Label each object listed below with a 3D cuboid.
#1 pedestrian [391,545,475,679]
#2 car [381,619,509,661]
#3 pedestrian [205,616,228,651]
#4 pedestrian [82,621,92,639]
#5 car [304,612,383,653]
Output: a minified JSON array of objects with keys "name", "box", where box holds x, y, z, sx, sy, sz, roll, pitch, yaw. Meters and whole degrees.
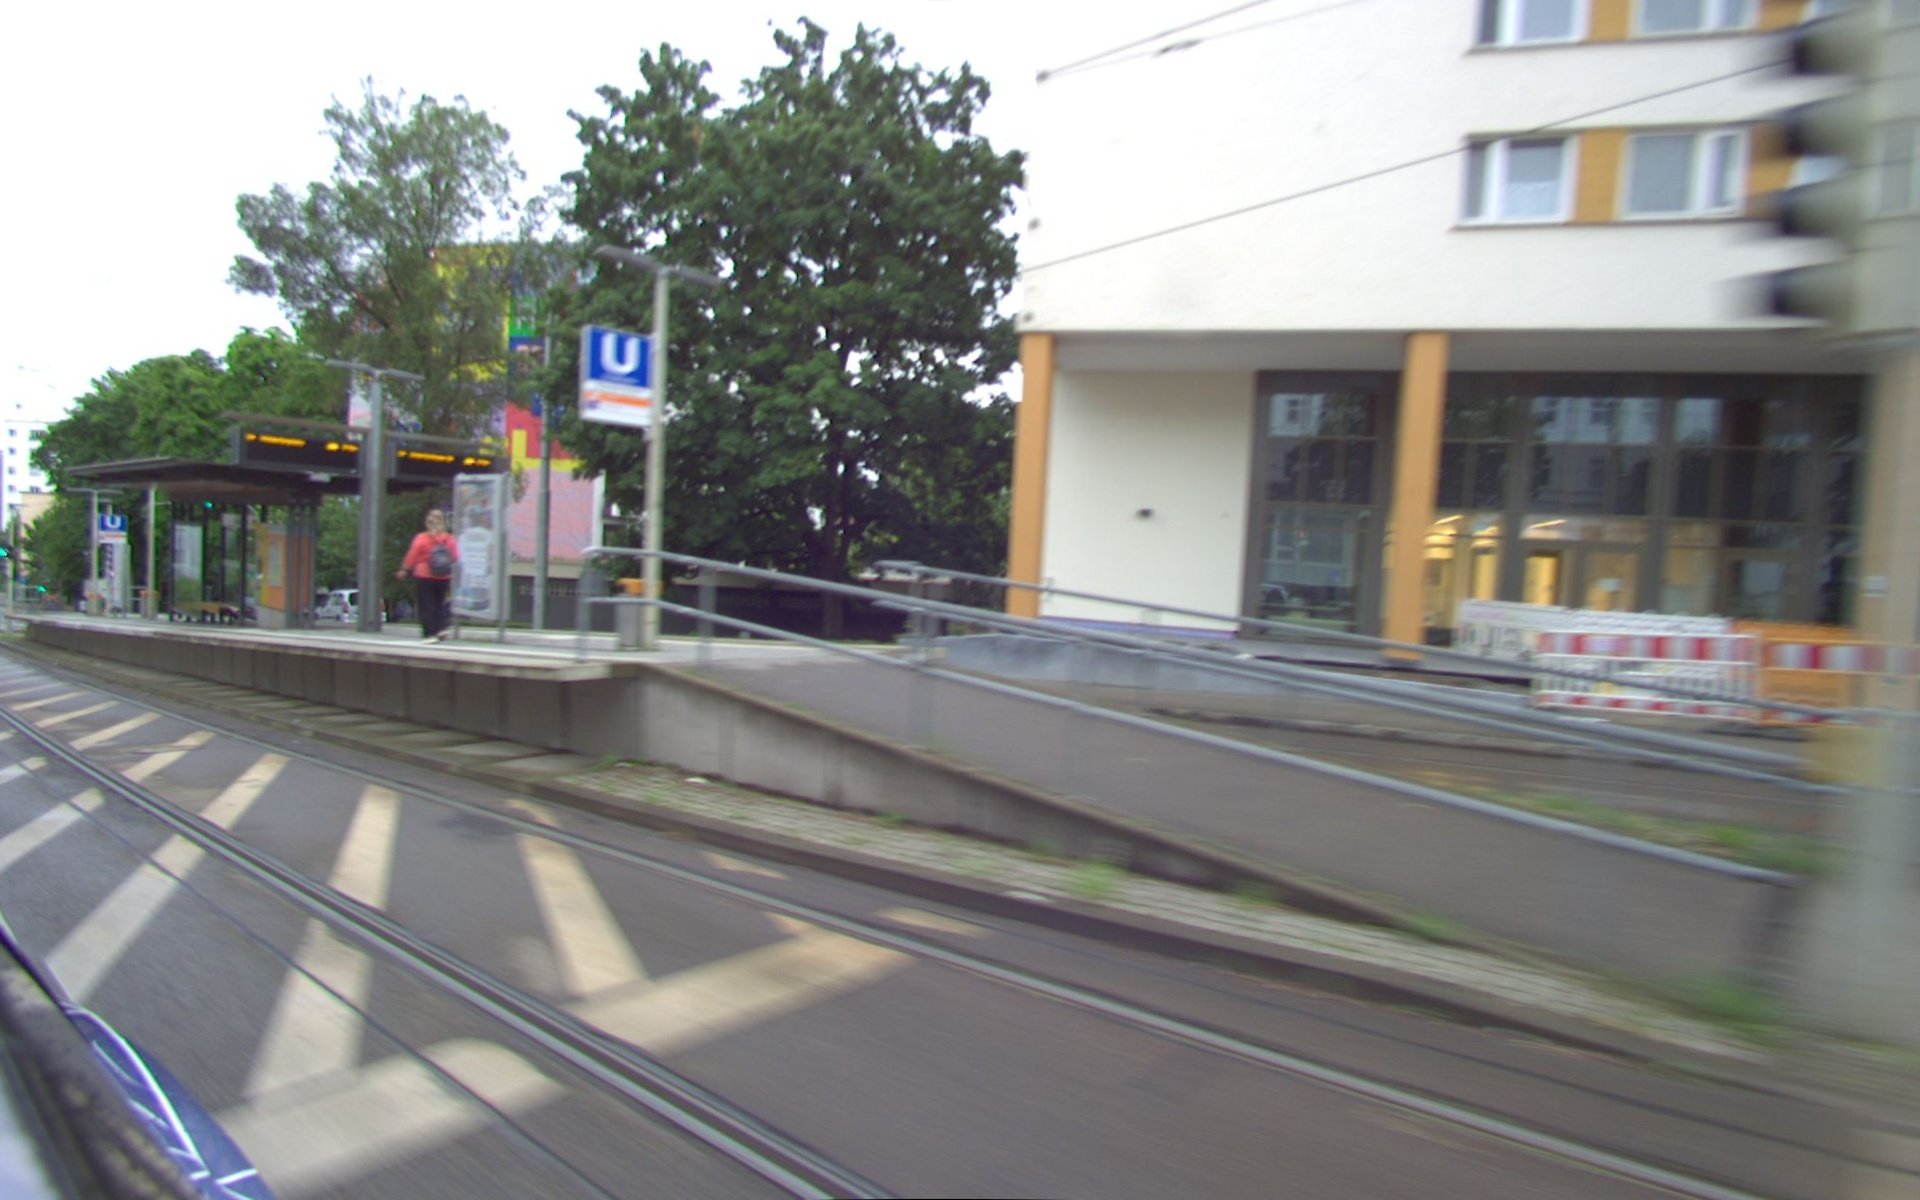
[{"name":"pedestrian","box":[-6.393,0.149,12.273,0.771,1.560,0.664,-1,-1,41]},{"name":"car","box":[-20.305,1.539,39.985,4.416,1.554,1.951,0,-1,-28]},{"name":"pedestrian","box":[-34.987,1.553,47.624,0.617,1.605,0.744,0,1,44]},{"name":"pedestrian","box":[-69.613,2.394,80.714,0.529,1.437,0.522,0,1,44]},{"name":"car","box":[-27.667,1.423,45.368,4.438,1.730,1.728,0,-1,40]}]
